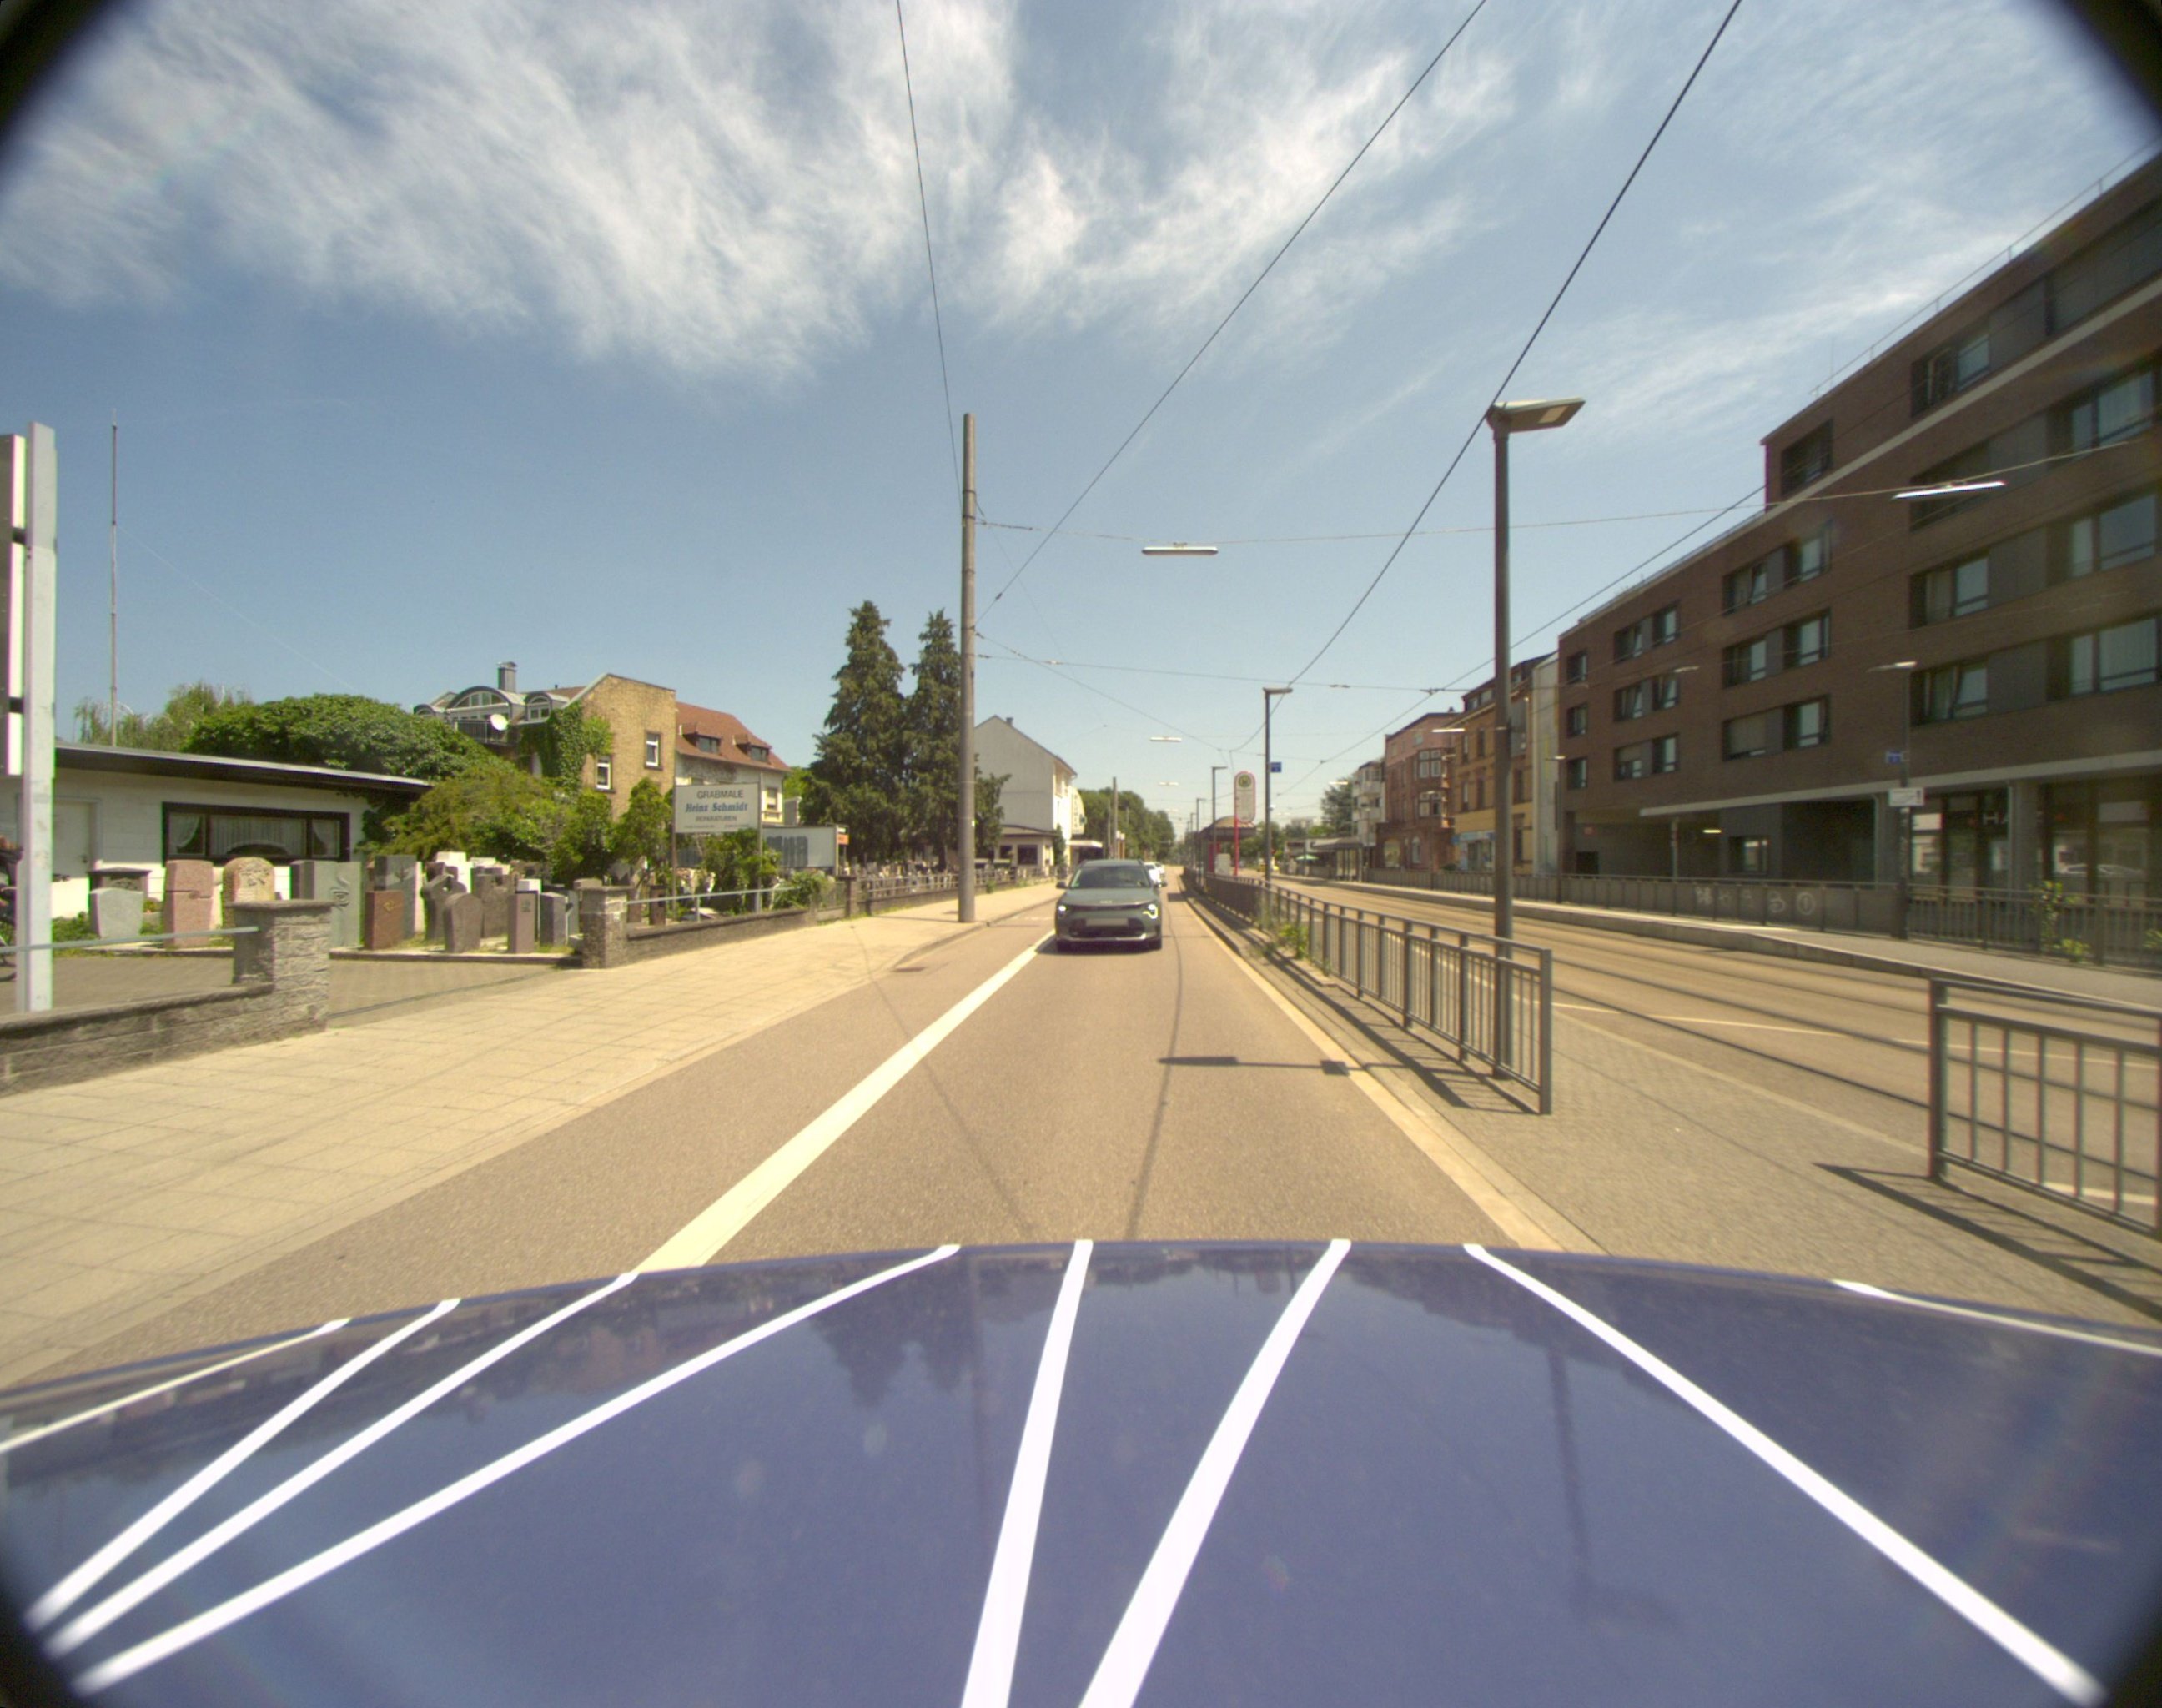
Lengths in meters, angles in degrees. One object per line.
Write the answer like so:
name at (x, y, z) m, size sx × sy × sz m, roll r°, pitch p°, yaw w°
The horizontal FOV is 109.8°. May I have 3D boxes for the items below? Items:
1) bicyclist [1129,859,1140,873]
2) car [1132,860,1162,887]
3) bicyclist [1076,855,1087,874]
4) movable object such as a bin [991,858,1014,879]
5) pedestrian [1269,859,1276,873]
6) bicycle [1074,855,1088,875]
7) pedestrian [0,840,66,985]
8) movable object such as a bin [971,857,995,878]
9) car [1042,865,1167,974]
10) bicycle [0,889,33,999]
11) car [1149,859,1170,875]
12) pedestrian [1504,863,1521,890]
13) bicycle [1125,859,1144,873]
bicyclist at (6.615, 1.474, 93.493) m, size 0.987 × 1.568 × 0.866 m, roll 4°, pitch 0°, yaw -24°
car at (4.136, 1.181, 47.657) m, size 1.748 × 1.546 × 4.489 m, roll -2°, pitch 0°, yaw 5°
bicyclist at (0.022, 1.027, 75.613) m, size 0.790 × 1.863 × 0.888 m, roll 3°, pitch 0°, yaw 14°
movable object such as a bin at (-5.510, 1.002, 53.362) m, size 1.389 × 1.472 × 1.152 m, roll 0°, pitch 0°, yaw 8°
pedestrian at (22.528, 1.398, 89.388) m, size 0.597 × 1.615 × 0.677 m, roll 1°, pitch 0°, yaw 7°
bicycle at (-0.003, 1.085, 75.590) m, size 0.799 × 1.889 × 1.961 m, roll 3°, pitch 0°, yaw 14°
pedestrian at (-12.860, 0.681, 9.089) m, size 0.825 × 1.681 × 0.590 m, roll 0°, pitch 0°, yaw 15°
movable object such as a bin at (-6.981, 0.969, 54.013) m, size 1.389 × 1.472 × 1.152 m, roll 0°, pitch 0°, yaw 11°
car at (0.482, 0.990, 13.387) m, size 1.827 × 1.546 × 4.488 m, roll 0°, pitch 0°, yaw 4°
bicycle at (-12.181, 0.935, 8.067) m, size 1.804 × 1.120 × 0.590 m, roll 1°, pitch 0°, yaw 13°
car at (7.994, 1.333, 77.481) m, size 1.748 × 1.546 × 4.488 m, roll -2°, pitch 0°, yaw 2°
pedestrian at (25.058, 1.292, 44.106) m, size 0.604 × 1.586 × 0.715 m, roll 0°, pitch 0°, yaw 5°
bicycle at (6.561, 1.468, 93.465) m, size 2.053 × 1.580 × 0.889 m, roll 4°, pitch 0°, yaw -24°
